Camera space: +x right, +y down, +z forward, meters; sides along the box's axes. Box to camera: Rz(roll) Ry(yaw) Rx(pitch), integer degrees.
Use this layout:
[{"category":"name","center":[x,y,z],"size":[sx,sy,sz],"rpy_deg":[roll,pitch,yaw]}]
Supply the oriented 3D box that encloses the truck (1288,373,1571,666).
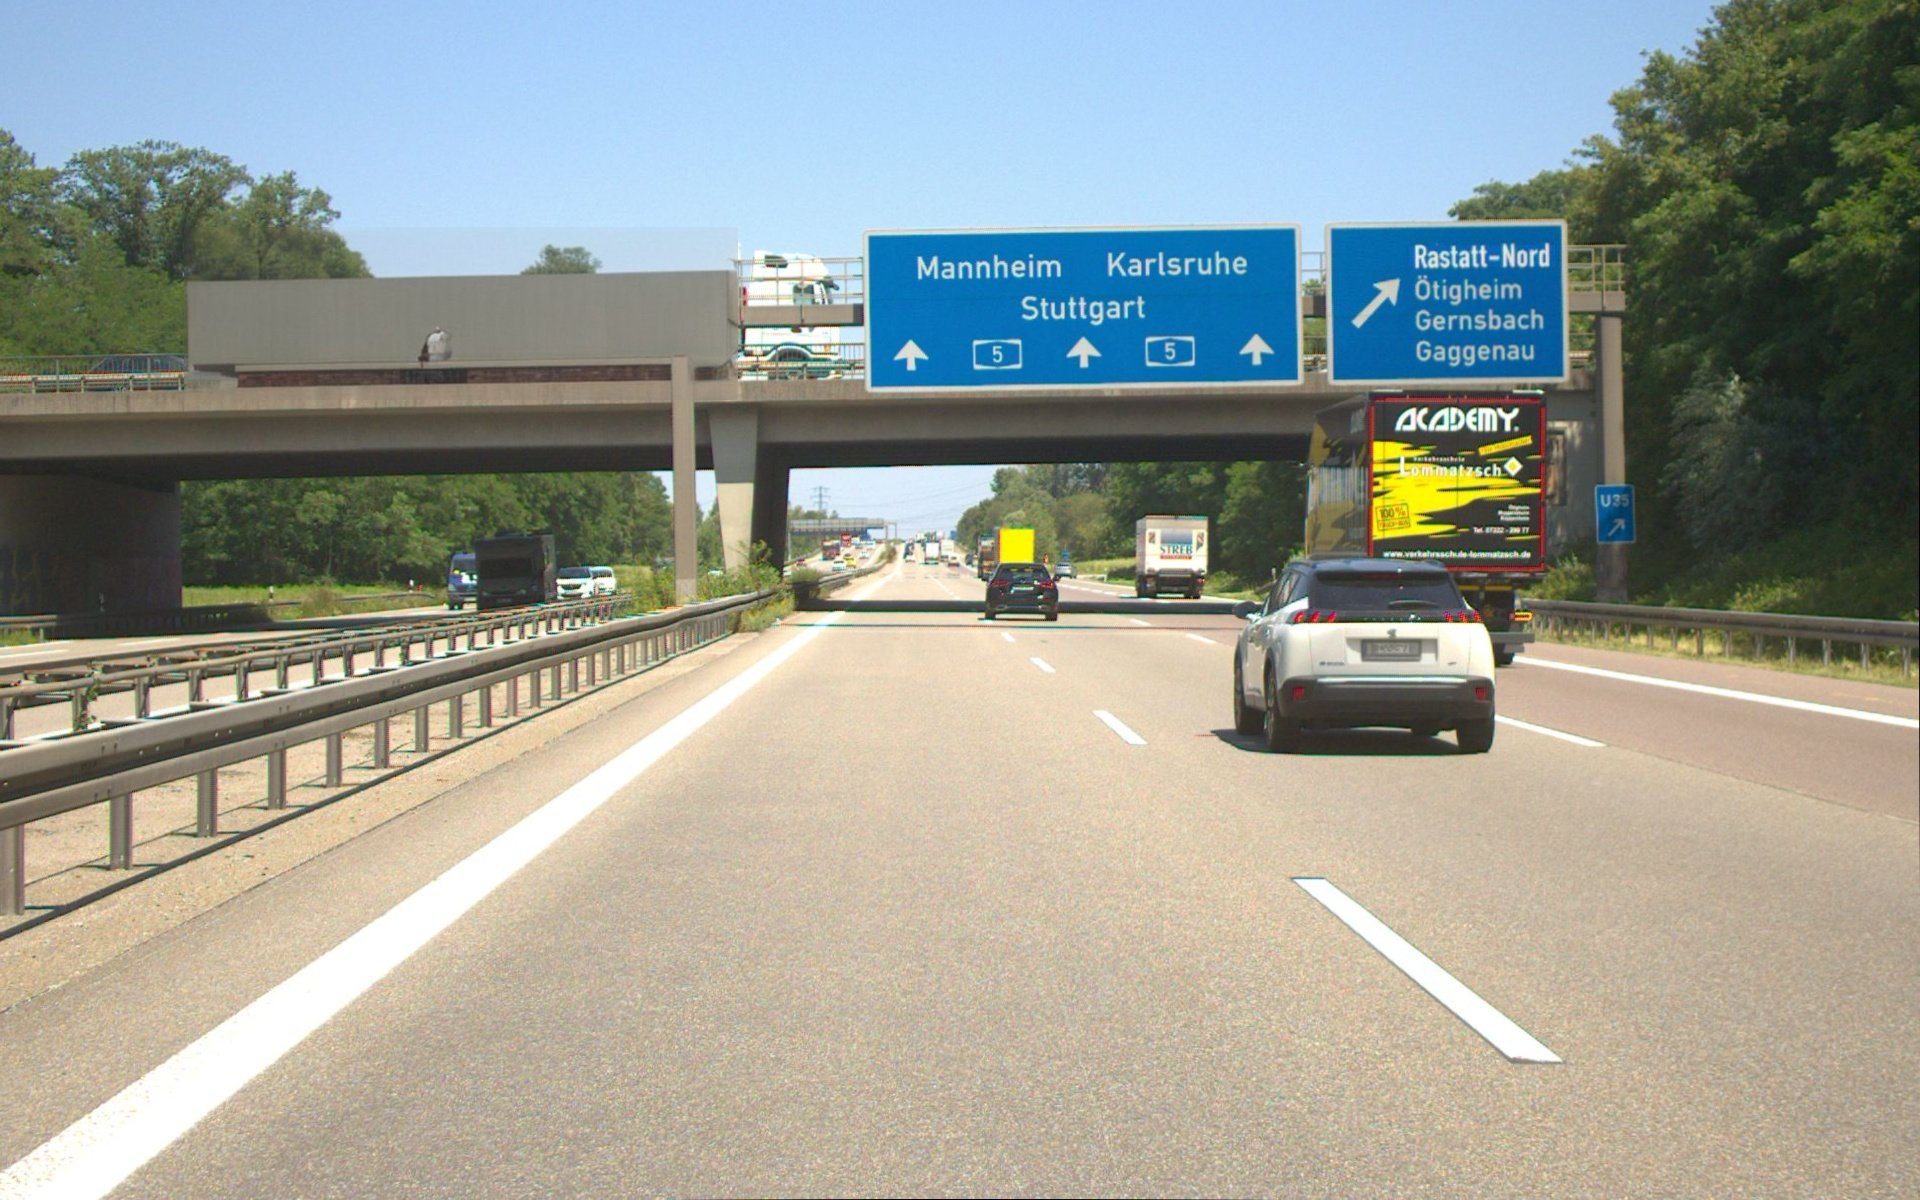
[{"category":"truck","center":[7.107,-1.170,53.661],"size":[2.975,4.023,10.981],"rpy_deg":[2,0,1]}]

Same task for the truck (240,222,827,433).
[{"category":"truck","center":[-12.171,-7.774,99.034],"size":[16.458,5.546,3.175],"rpy_deg":[1,0,-5]}]

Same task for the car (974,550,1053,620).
[{"category":"car","center":[1.320,-0.390,86.286],"size":[1.827,1.700,4.000],"rpy_deg":[1,0,-1]}]

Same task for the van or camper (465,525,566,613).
[{"category":"van or camper","center":[-15.197,-1.059,117.978],"size":[2.592,2.897,7.234],"rpy_deg":[1,0,-1]}]

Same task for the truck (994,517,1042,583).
[{"category":"truck","center":[4.440,-3.834,265.812],"size":[3.377,4.864,15.086],"rpy_deg":[1,0,0]}]

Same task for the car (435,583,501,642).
[{"category":"car","center":[-20.666,0.509,144.607],"size":[2.089,2.391,5.735],"rpy_deg":[1,0,-2]}]

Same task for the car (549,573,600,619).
[{"category":"car","center":[-15.855,-0.178,141.547],"size":[1.690,1.809,4.714],"rpy_deg":[1,0,-2]}]

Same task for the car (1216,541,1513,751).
[{"category":"car","center":[3.273,0.333,28.703],"size":[1.827,1.602,4.809],"rpy_deg":[0,0,-1]}]

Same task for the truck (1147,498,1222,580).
[{"category":"truck","center":[9.497,-2.550,145.724],"size":[3.028,3.308,10.769],"rpy_deg":[1,0,4]}]
